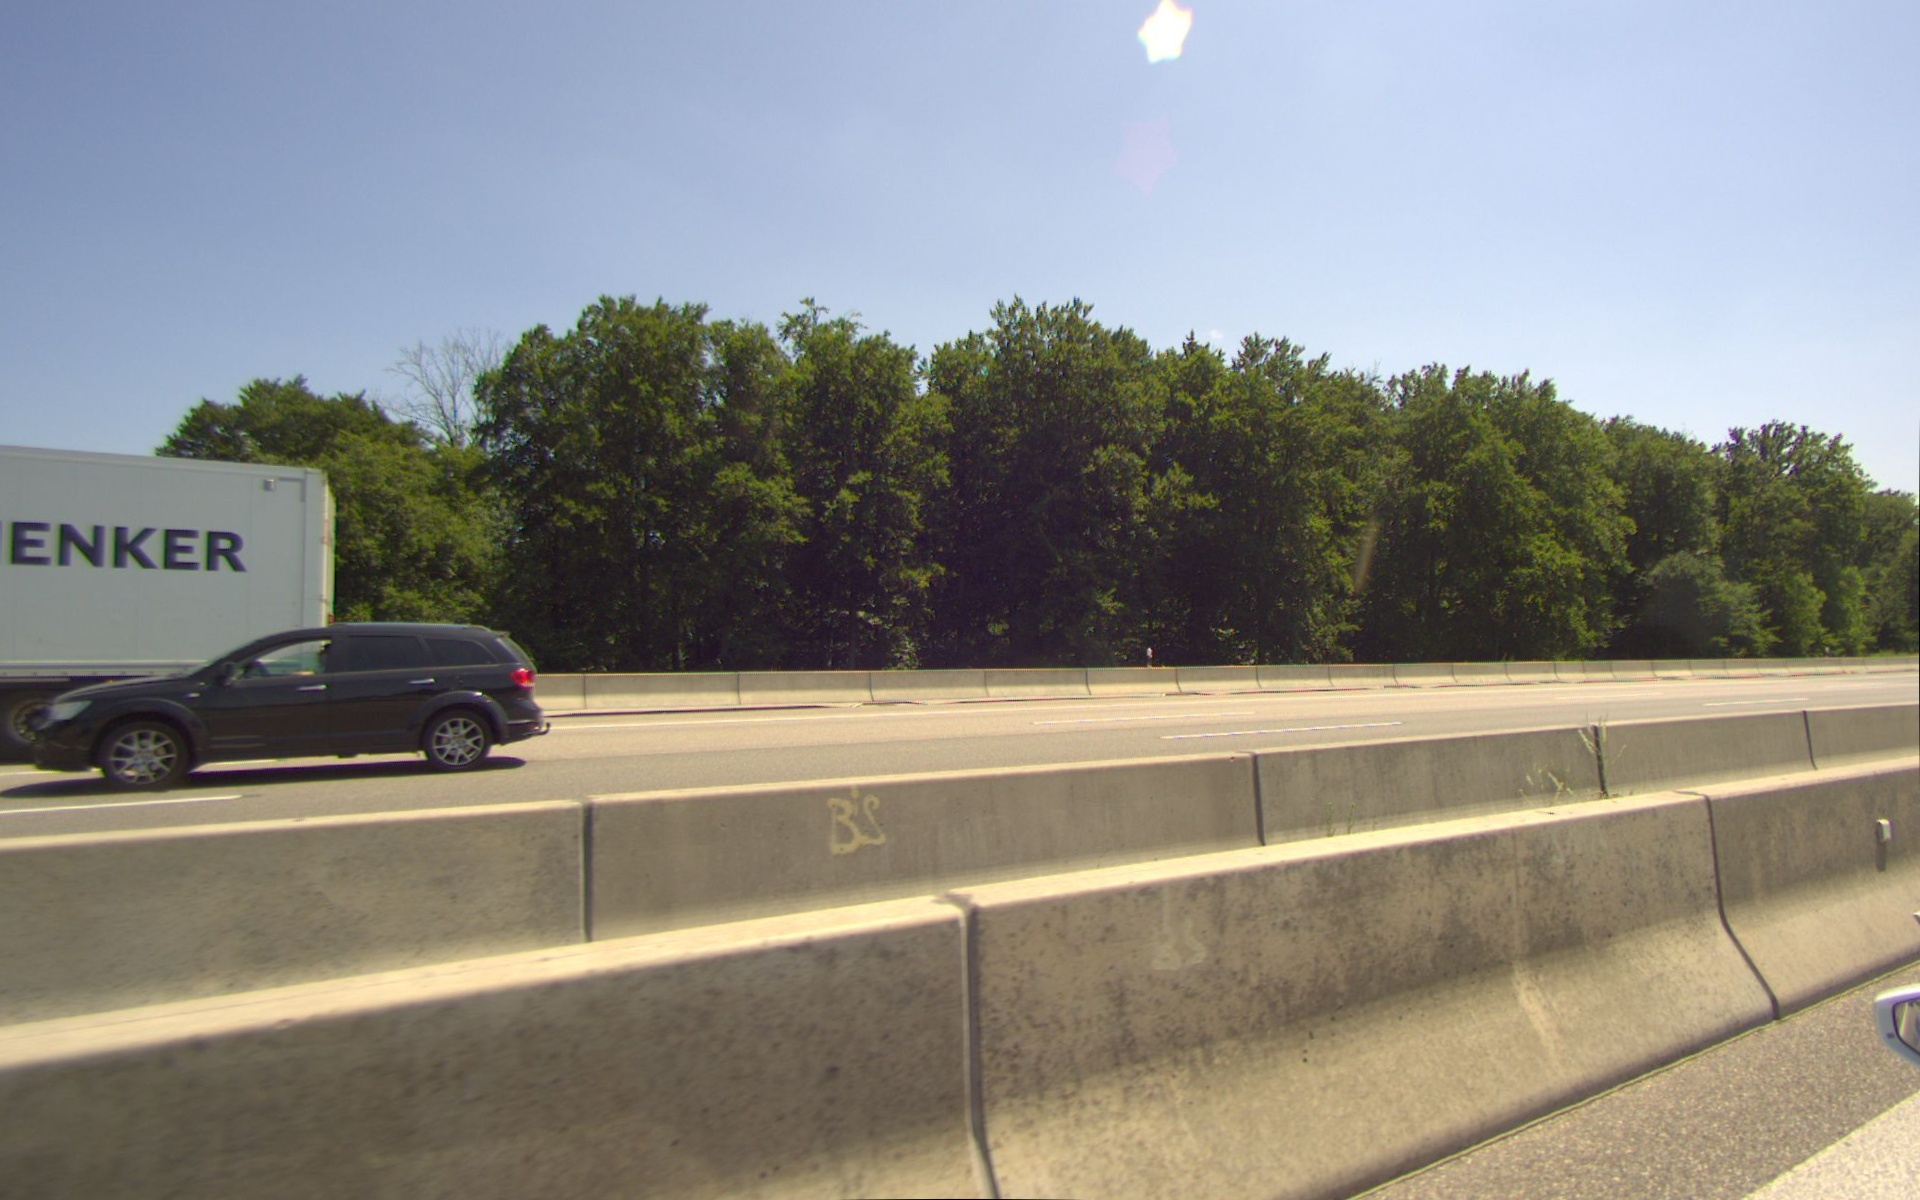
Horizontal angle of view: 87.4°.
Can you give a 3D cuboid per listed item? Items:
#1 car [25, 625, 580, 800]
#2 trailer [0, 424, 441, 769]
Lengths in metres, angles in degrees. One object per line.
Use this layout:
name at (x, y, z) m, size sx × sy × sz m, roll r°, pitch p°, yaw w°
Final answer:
car at (-7.213, 1.163, 11.678) m, size 5.020 × 1.664 × 1.790 m, roll 1°, pitch -3°, yaw -30°
trailer at (-14.487, -0.033, 12.431) m, size 14.194 × 4.279 × 2.630 m, roll 1°, pitch -3°, yaw -31°
